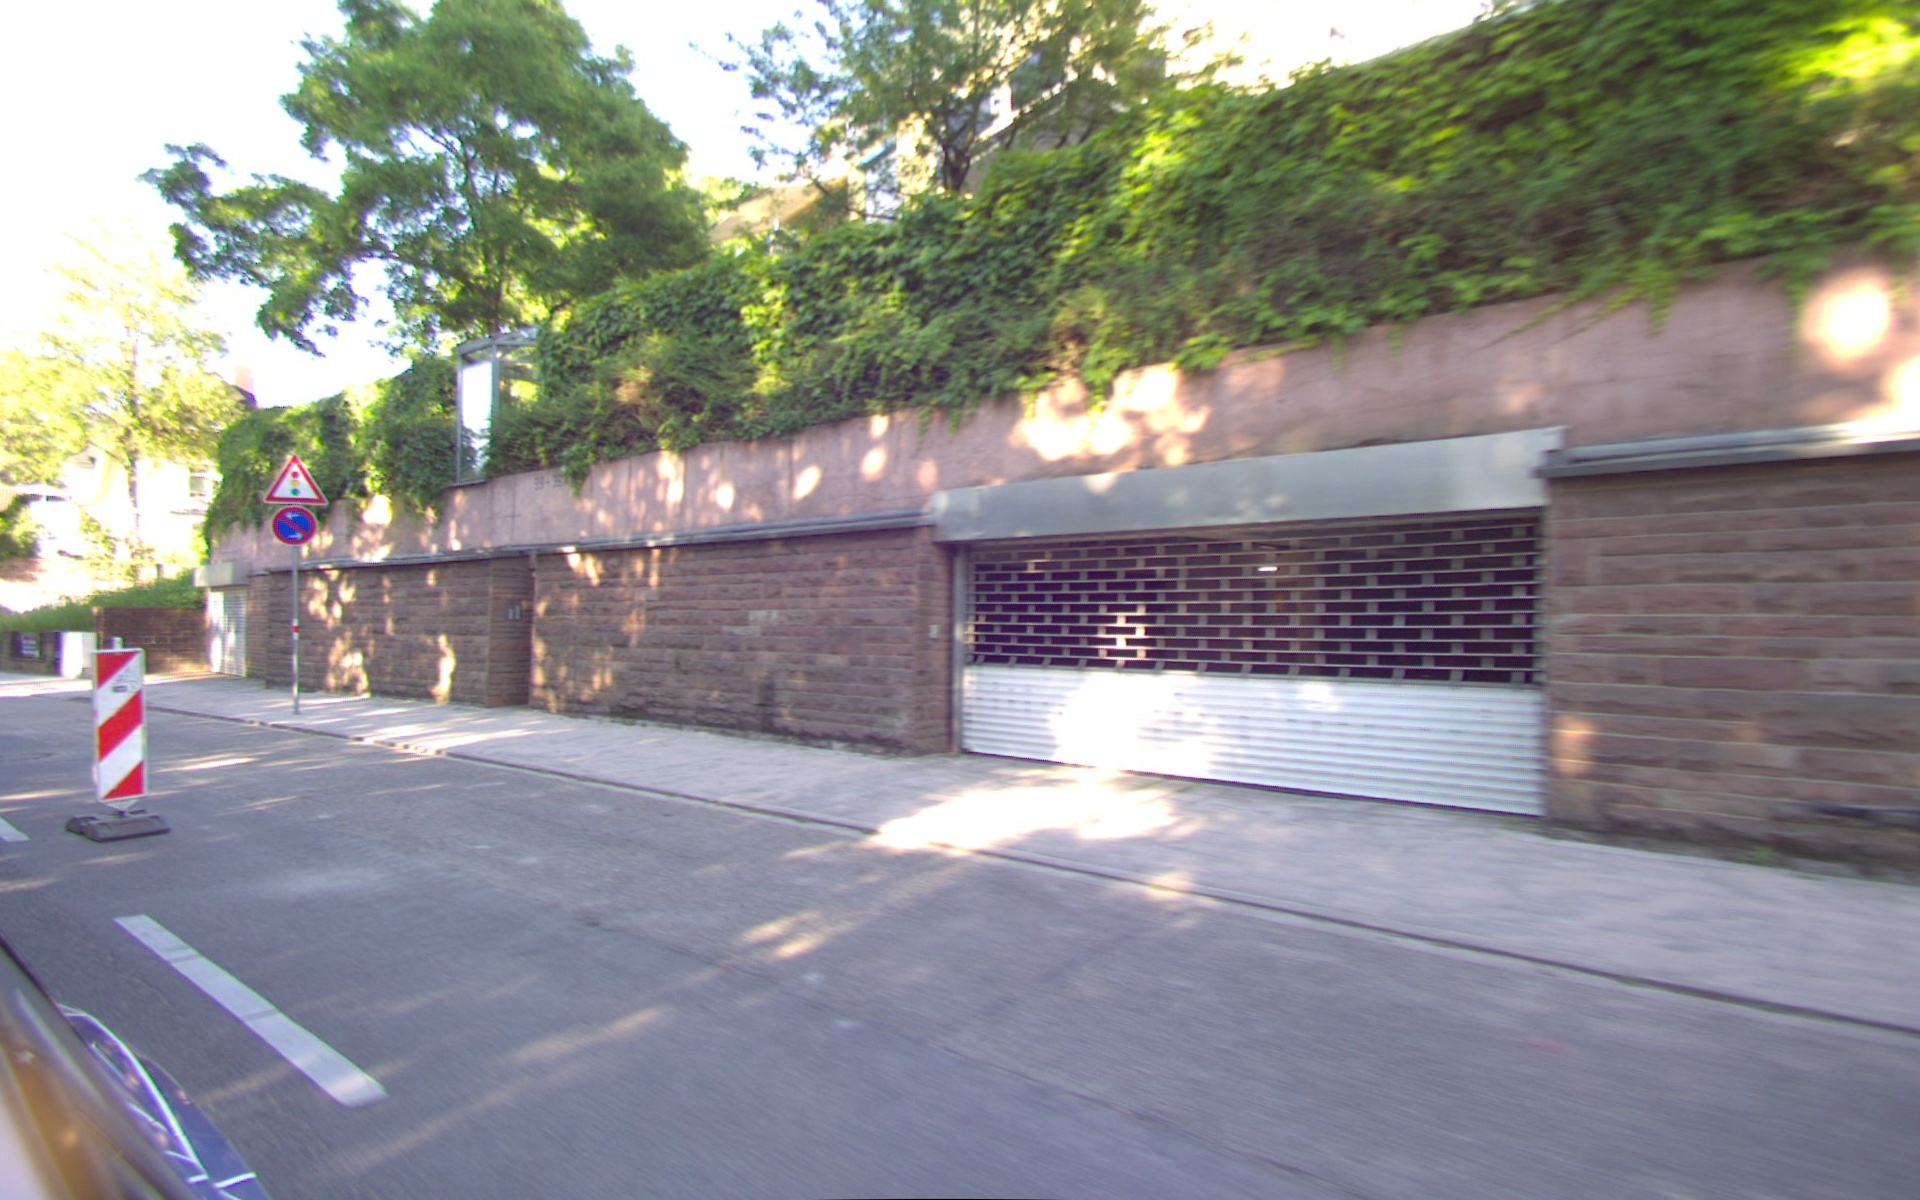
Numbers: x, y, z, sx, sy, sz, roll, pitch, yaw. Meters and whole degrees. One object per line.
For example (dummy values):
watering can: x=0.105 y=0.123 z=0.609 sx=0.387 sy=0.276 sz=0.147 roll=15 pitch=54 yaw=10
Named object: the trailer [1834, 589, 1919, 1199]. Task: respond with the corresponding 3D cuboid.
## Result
trailer: x=5.068 y=0.690 z=0.405 sx=7.115 sy=1.500 sz=2.612 roll=-1 pitch=-1 yaw=42
